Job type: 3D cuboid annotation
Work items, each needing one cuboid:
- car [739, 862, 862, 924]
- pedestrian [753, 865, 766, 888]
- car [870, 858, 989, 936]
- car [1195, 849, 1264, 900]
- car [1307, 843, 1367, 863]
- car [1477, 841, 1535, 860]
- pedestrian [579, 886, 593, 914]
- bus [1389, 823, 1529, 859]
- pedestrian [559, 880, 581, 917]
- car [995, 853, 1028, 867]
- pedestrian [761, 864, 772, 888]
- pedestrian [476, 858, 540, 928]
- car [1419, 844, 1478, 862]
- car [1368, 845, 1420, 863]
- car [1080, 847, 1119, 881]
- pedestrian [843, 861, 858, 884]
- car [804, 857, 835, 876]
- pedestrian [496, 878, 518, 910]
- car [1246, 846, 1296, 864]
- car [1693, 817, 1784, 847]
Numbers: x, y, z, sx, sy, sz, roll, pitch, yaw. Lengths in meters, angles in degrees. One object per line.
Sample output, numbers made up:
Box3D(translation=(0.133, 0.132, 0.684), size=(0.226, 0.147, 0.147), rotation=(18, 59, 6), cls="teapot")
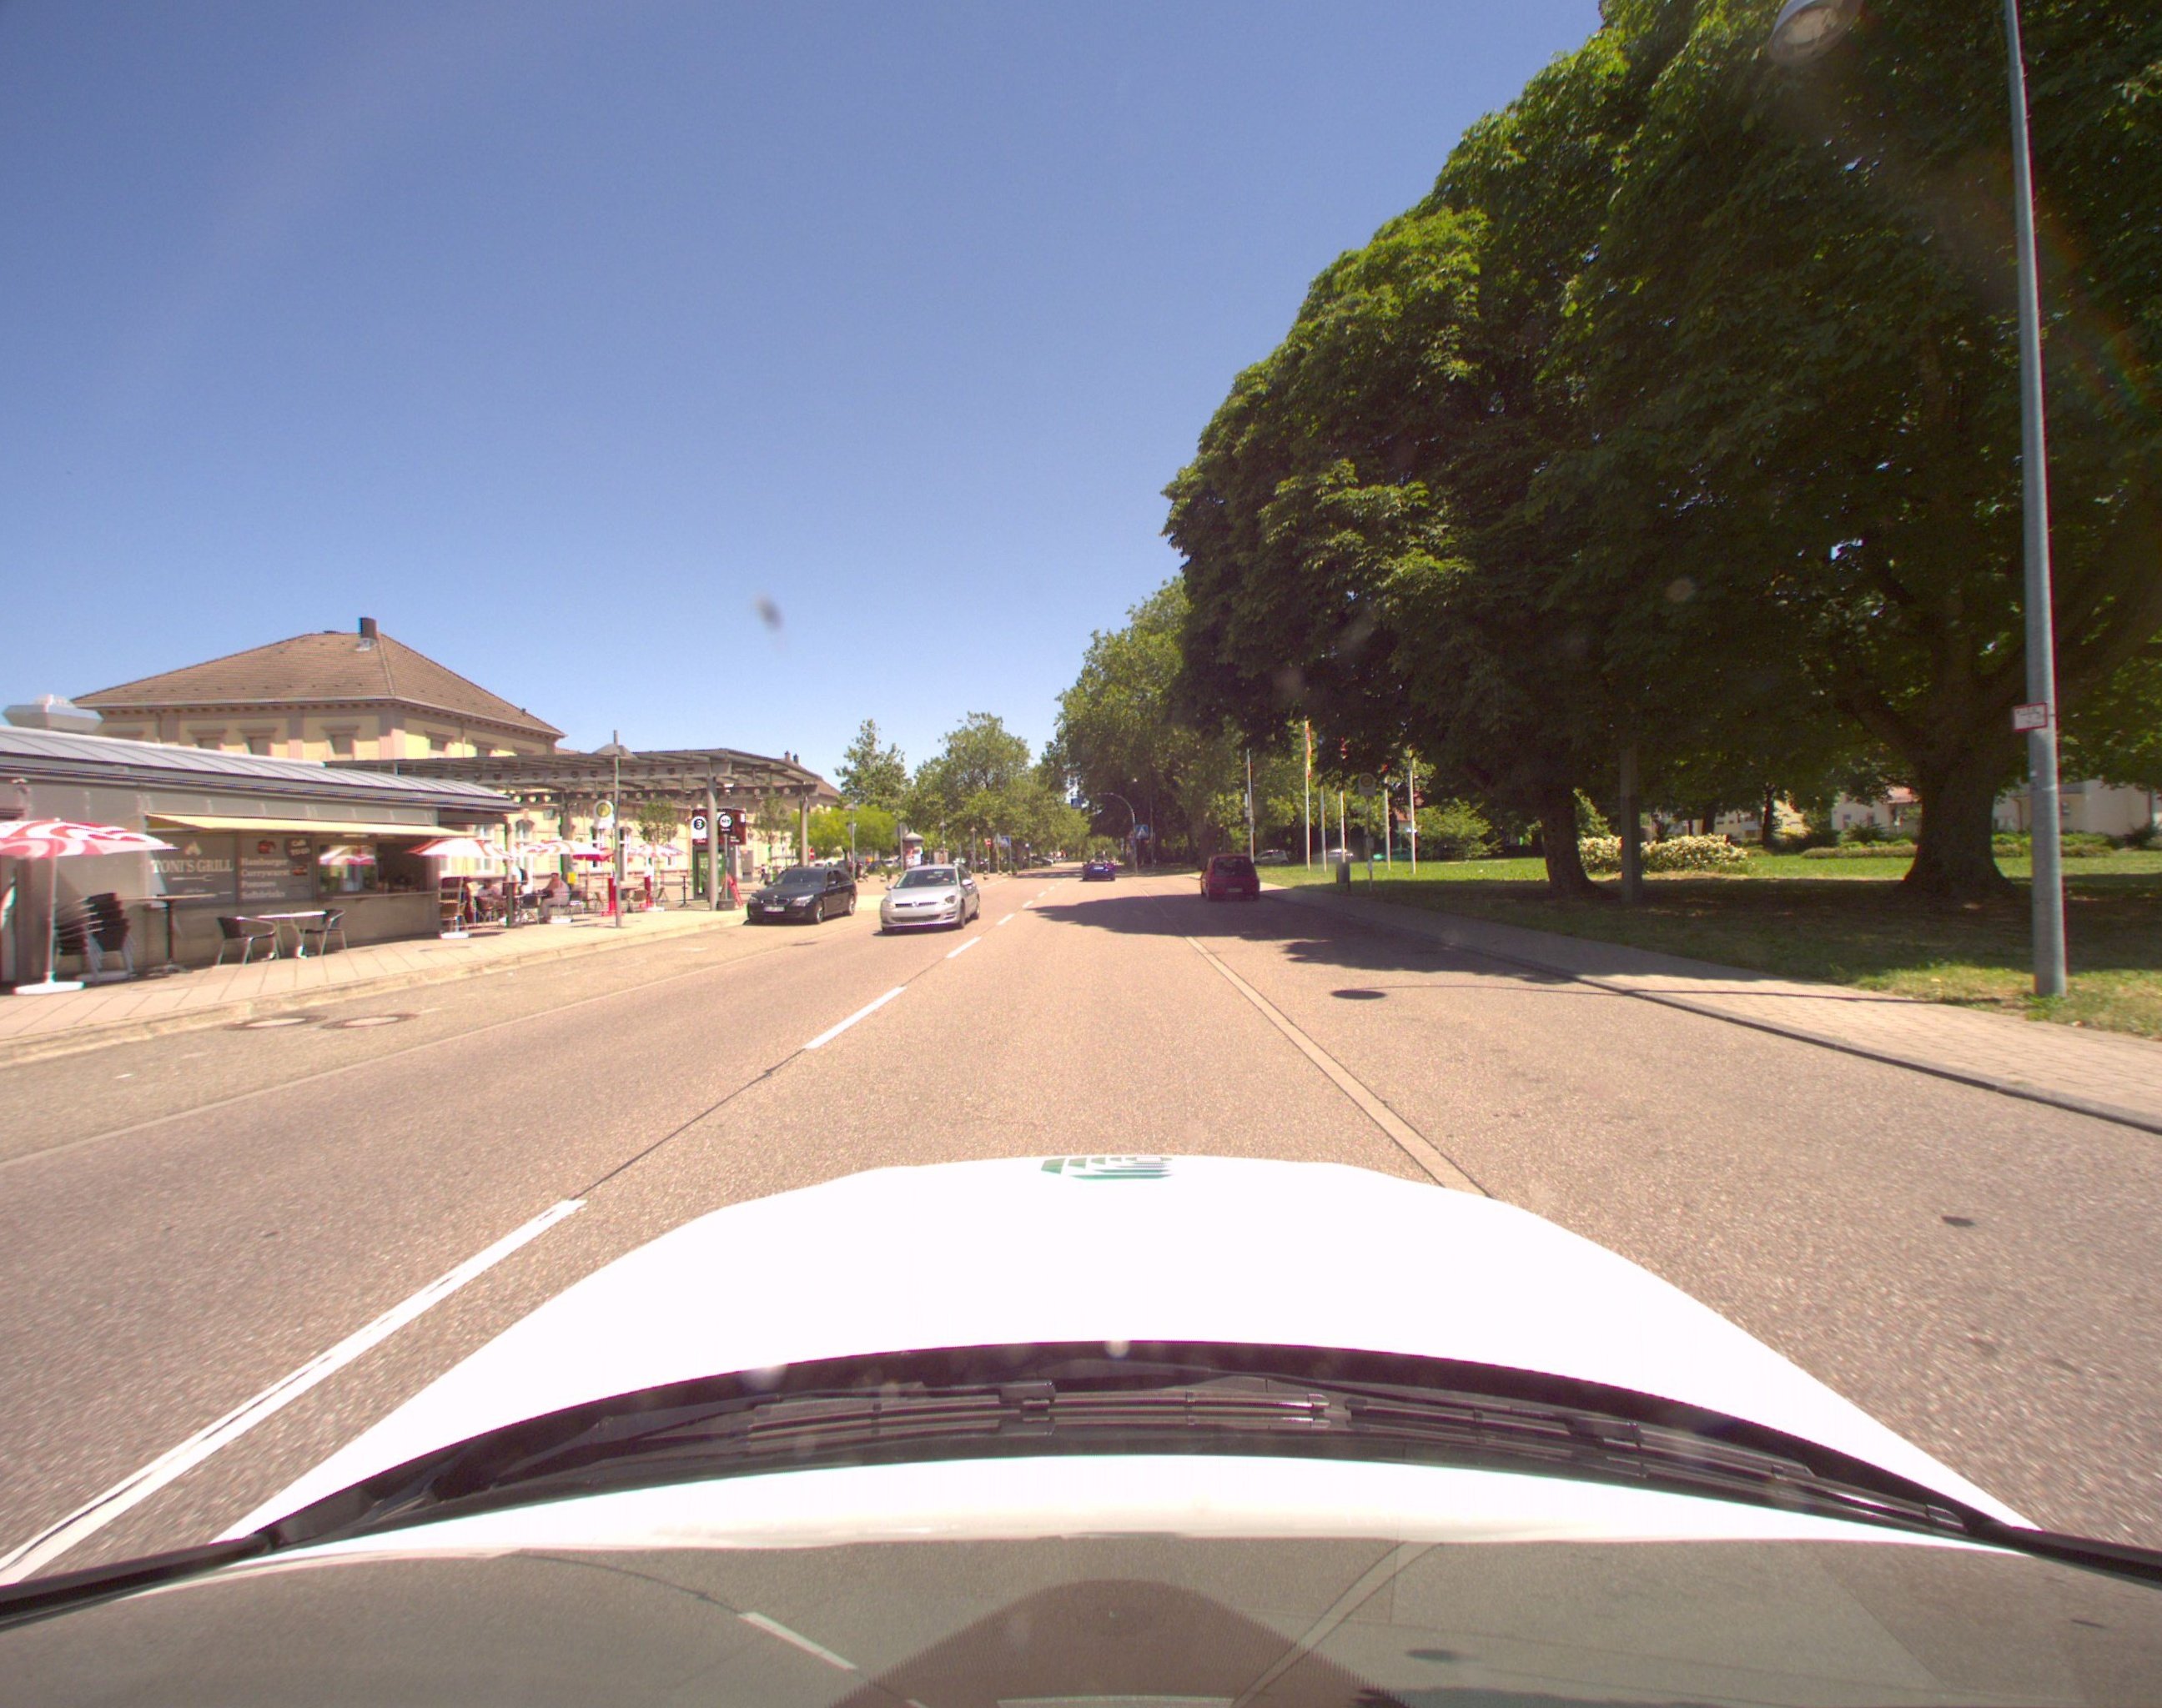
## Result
Box3D(translation=(-7.685, 0.996, 22.822), size=(1.713, 1.478, 4.785), rotation=(-2, 0, 0), cls="car")
Box3D(translation=(-23.300, 1.618, 59.088), size=(0.661, 1.673, 0.623), rotation=(0, -3, -45), cls="pedestrian")
Box3D(translation=(-3.408, 0.910, 19.078), size=(1.808, 1.444, 4.160), rotation=(-3, 0, 2), cls="car")
Box3D(translation=(4.714, 0.626, 26.283), size=(1.711, 1.478, 3.709), rotation=(-2, 0, 3), cls="car")
Box3D(translation=(22.814, -0.118, 72.751), size=(4.801, 1.607, 2.003), rotation=(-2, 0, 5), cls="car")
Box3D(translation=(37.657, -0.280, 72.248), size=(4.080, 1.609, 2.001), rotation=(-1, -1, 2), cls="car")
Box3D(translation=(-16.439, 1.523, 27.046), size=(0.373, 0.923, 0.422), rotation=(-1, -2, -28), cls="pedestrian")
Box3D(translation=(36.173, -1.175, 78.139), size=(12.335, 2.978, 2.269), rotation=(-2, -1, 1), cls="bus")
Box3D(translation=(-15.682, 1.362, 24.998), size=(0.367, 1.123, 0.429), rotation=(-3, -2, 35), cls="pedestrian")
Box3D(translation=(-9.225, 0.782, 108.434), size=(3.997, 1.781, 1.988), rotation=(-1, 0, -17), cls="car")
Box3D(translation=(-23.123, 1.622, 59.881), size=(0.589, 1.710, 0.580), rotation=(0, -3, -45), cls="pedestrian")
Box3D(translation=(-15.538, 1.057, 22.097), size=(0.793, 1.828, 1.147), rotation=(-3, -2, 18), cls="pedestrian")
Box3D(translation=(32.659, -0.074, 72.444), size=(4.321, 1.416, 2.001), rotation=(-1, -1, 1), cls="car")
Box3D(translation=(27.881, 0.037, 72.684), size=(3.865, 1.454, 2.001), rotation=(-1, -1, 3), cls="car")
Box3D(translation=(1.043, 0.573, 47.548), size=(2.118, 1.848, 4.048), rotation=(-1, -1, 0), cls="car")
Box3D(translation=(-17.467, 1.410, 61.634), size=(0.754, 1.659, 0.724), rotation=(-3, -2, 18), cls="pedestrian")
Box3D(translation=(-28.862, 1.391, 89.937), size=(1.745, 1.917, 4.776), rotation=(-2, 1, 1), cls="car")
Box3D(translation=(-17.942, 1.241, 25.473), size=(0.421, 0.972, 0.373), rotation=(-2, -2, 14), cls="pedestrian")
Box3D(translation=(17.052, 0.060, 73.300), size=(4.085, 1.466, 2.003), rotation=(-2, 0, 5), cls="car")
Box3D(translation=(51.477, -1.679, 63.873), size=(5.208, 2.090, 2.012), rotation=(-2, -2, 27), cls="car")
